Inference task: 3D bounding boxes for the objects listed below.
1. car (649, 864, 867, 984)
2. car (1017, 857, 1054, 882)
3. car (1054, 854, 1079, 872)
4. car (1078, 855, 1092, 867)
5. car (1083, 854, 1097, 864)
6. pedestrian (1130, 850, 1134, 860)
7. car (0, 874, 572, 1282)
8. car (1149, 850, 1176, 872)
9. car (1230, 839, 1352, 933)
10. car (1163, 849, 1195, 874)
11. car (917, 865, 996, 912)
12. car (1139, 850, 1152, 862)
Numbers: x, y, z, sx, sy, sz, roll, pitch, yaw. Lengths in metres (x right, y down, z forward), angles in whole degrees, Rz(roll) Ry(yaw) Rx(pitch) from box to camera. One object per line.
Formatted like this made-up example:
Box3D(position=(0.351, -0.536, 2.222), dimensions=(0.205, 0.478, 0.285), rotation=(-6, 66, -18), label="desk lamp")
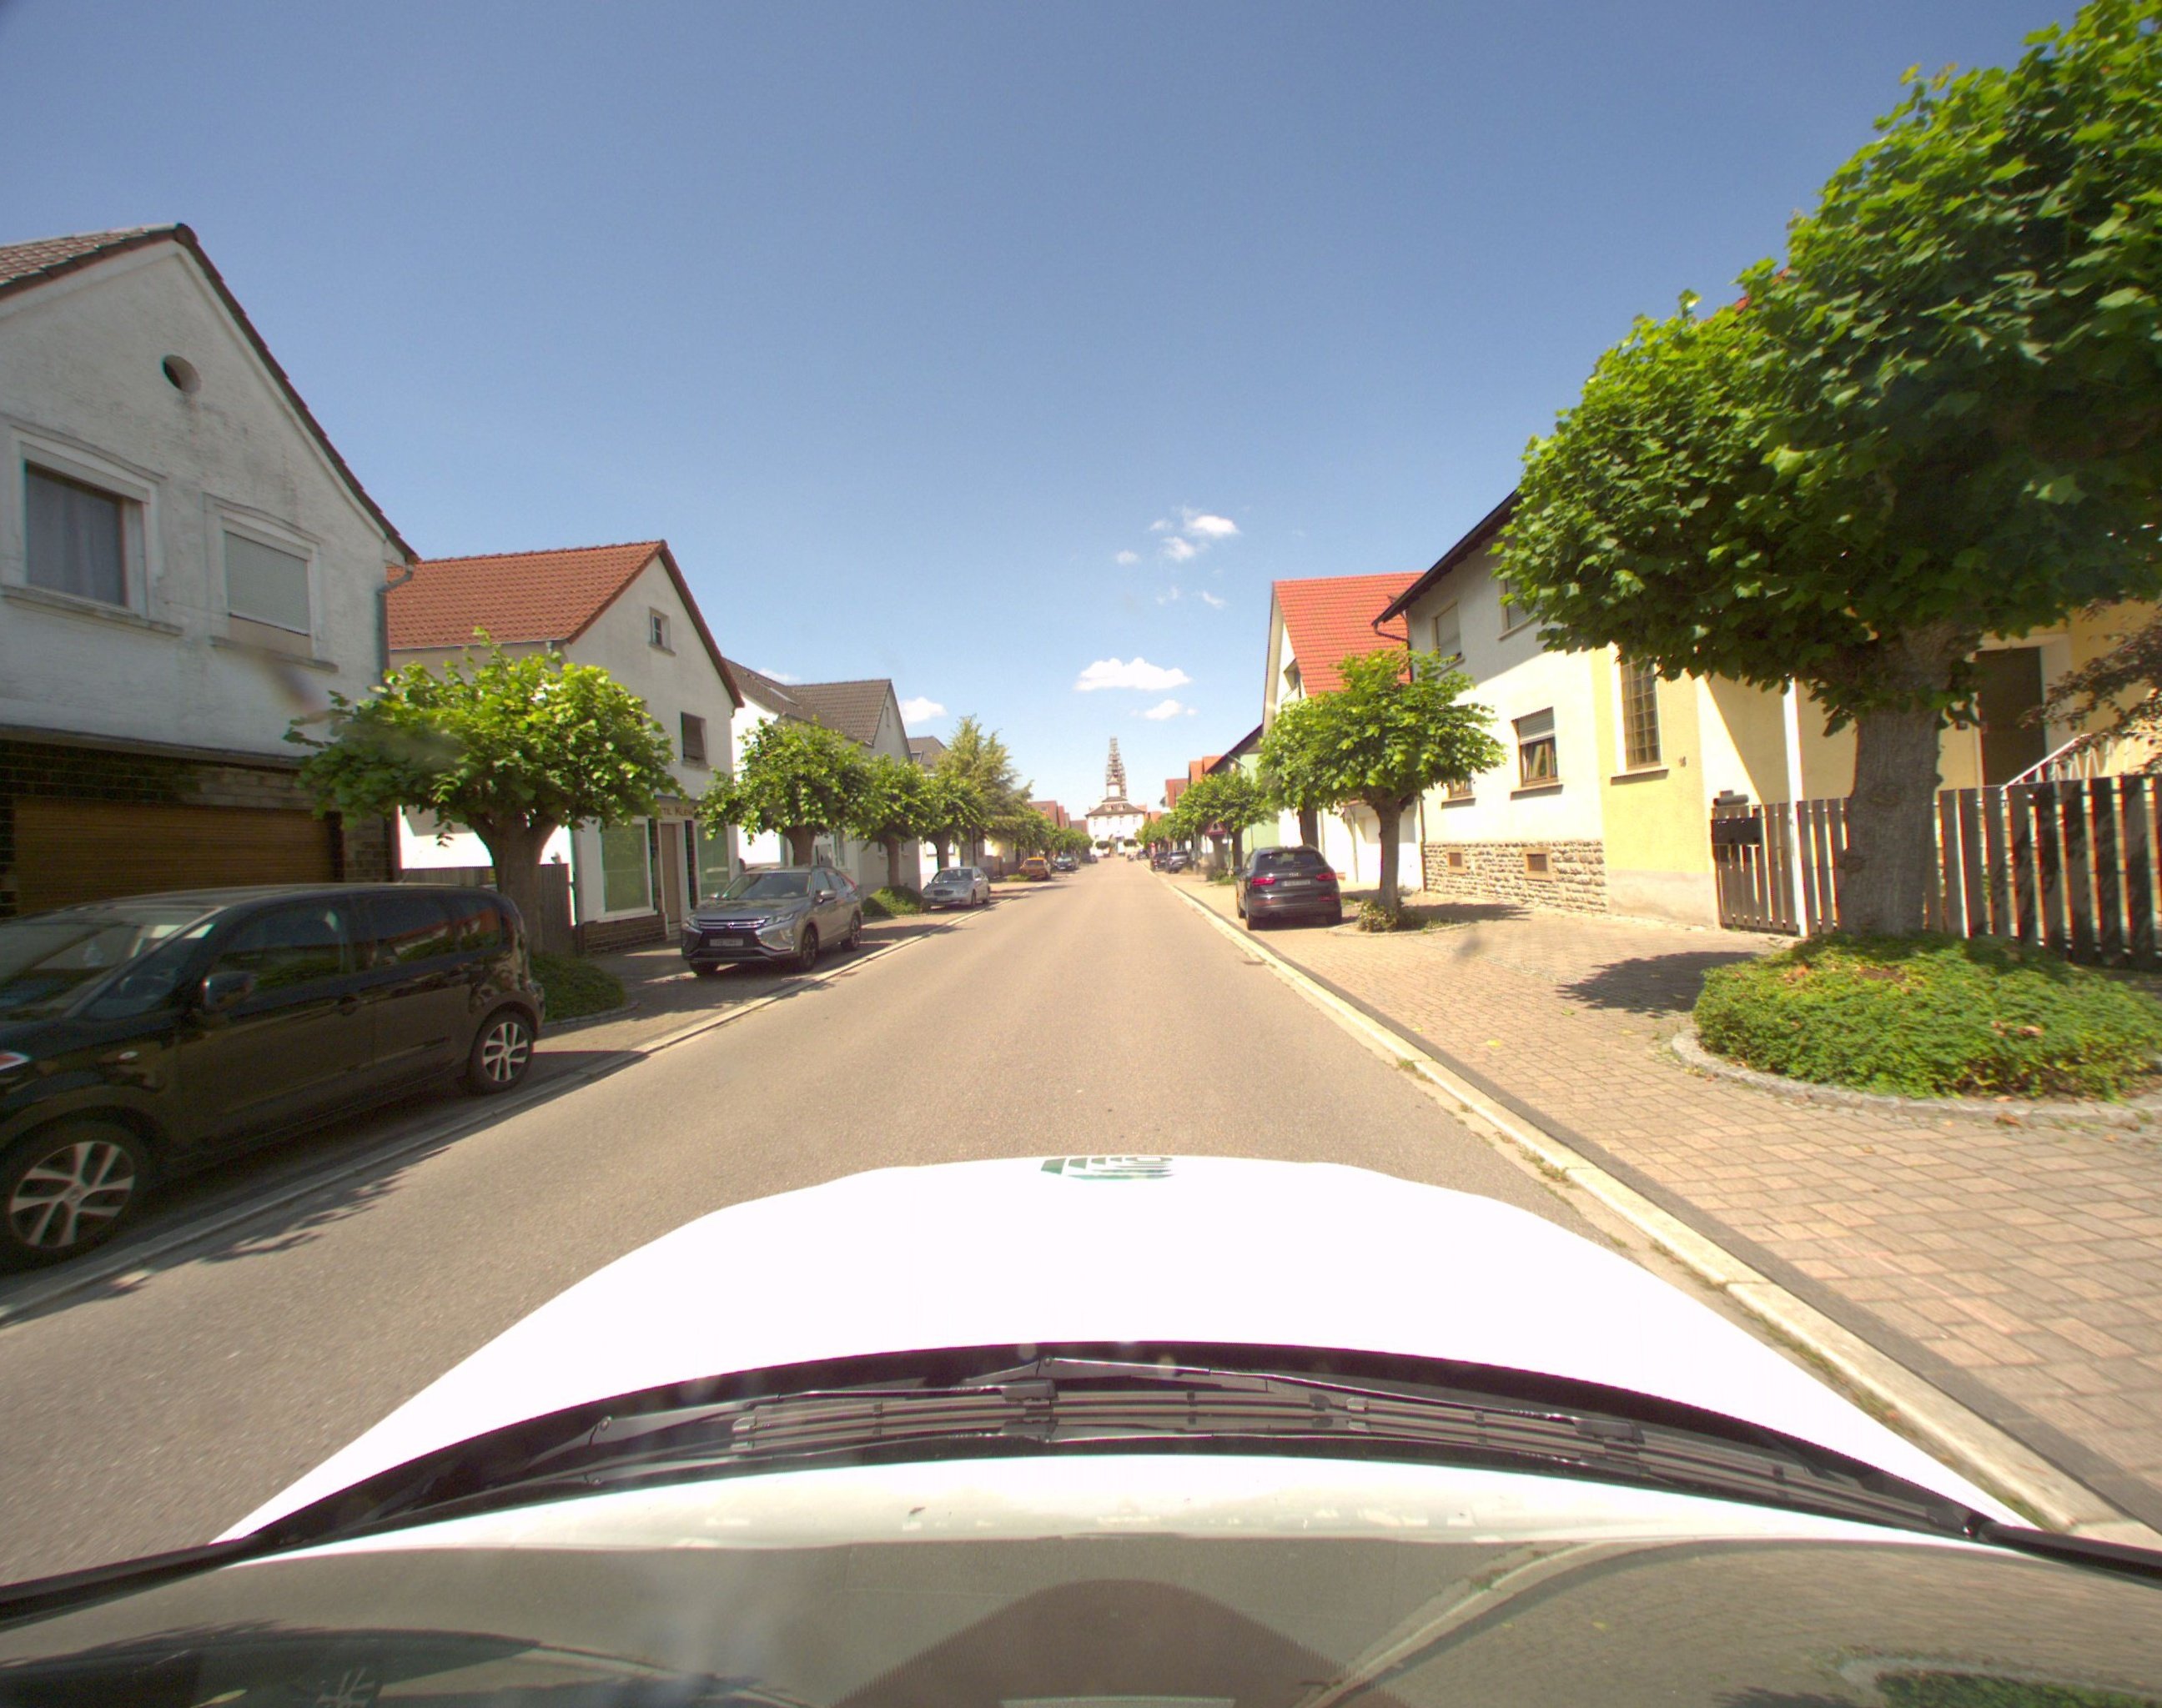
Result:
Box3D(position=(-5.203, 1.022, 13.870), dimensions=(1.987, 1.652, 4.366), rotation=(-1, 0, -1), label="car")
Box3D(position=(-3.208, 1.089, 58.136), dimensions=(1.985, 1.611, 4.694), rotation=(-2, 0, 4), label="car")
Box3D(position=(-1.415, 0.846, 79.610), dimensions=(1.985, 1.611, 4.694), rotation=(-2, 1, 4), label="car")
Box3D(position=(0.652, 1.055, 122.469), dimensions=(1.750, 1.555, 4.024), rotation=(-3, 0, 3), label="car")
Box3D(position=(1.446, 0.788, 128.190), dimensions=(1.985, 1.611, 3.859), rotation=(-2, -1, 4), label="car")
Box3D(position=(7.039, 0.134, 113.431), dimensions=(0.354, 1.403, 0.322), rotation=(-4, -1, 40), label="pedestrian")
Box3D(position=(-5.350, 0.993, 4.900), dimensions=(1.845, 1.635, 4.059), rotation=(-1, -1, 3), label="car")
Box3D(position=(6.473, 0.538, 64.907), dimensions=(1.830, 1.555, 4.316), rotation=(-5, 0, 2), label="car")
Box3D(position=(4.203, 0.572, 16.928), dimensions=(1.815, 1.586, 4.065), rotation=(-5, 0, 7), label="car")
Box3D(position=(6.845, 0.500, 57.280), dimensions=(1.830, 1.607, 4.001), rotation=(-3, 0, 1), label="car")
Box3D(position=(-4.236, 1.134, 28.406), dimensions=(1.833, 1.396, 4.409), rotation=(-2, 0, 2), label="car")
Box3D(position=(10.130, 0.305, 128.005), dimensions=(1.829, 1.555, 4.317), rotation=(-5, 0, 3), label="car")
